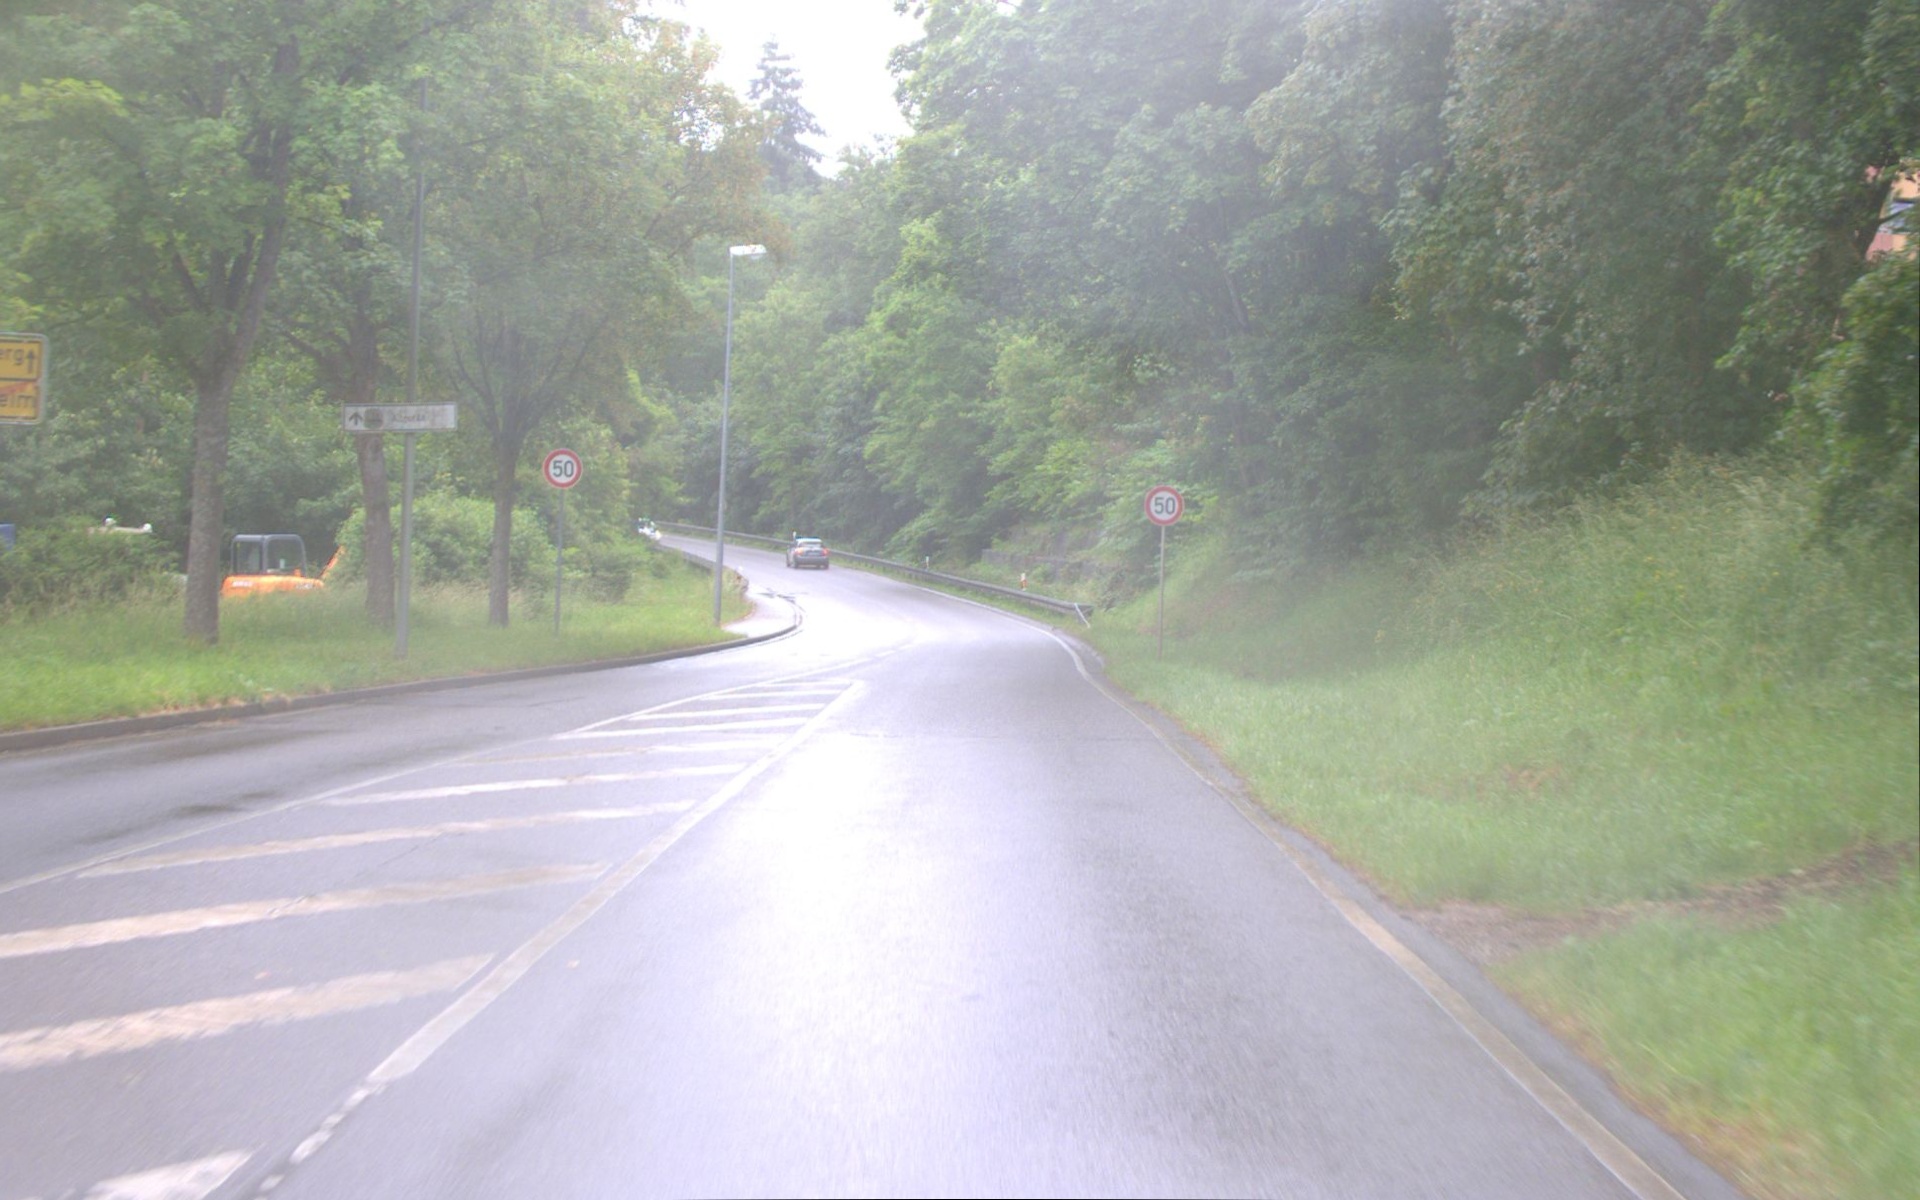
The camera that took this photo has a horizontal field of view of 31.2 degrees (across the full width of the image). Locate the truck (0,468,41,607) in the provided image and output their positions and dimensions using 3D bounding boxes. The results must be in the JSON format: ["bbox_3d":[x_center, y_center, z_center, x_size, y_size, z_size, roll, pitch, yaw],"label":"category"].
[{"bbox_3d":[-17.891,-1.137,60.719,1.993,2.449,5.223,2,2,-2],"label":"truck"}]

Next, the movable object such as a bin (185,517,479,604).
[{"bbox_3d":[-14.299,-0.885,78.967,1.849,1.901,7.894,1,1,31],"label":"movable object such as a bin"}]

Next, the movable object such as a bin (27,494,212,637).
[{"bbox_3d":[-17.576,-0.717,72.062,1.995,2.851,3.997,2,0,15],"label":"movable object such as a bin"}]

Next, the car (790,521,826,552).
[{"bbox_3d":[-7.540,-3.184,170.630,1.736,1.505,4.001,0,1,-2],"label":"car"}]
